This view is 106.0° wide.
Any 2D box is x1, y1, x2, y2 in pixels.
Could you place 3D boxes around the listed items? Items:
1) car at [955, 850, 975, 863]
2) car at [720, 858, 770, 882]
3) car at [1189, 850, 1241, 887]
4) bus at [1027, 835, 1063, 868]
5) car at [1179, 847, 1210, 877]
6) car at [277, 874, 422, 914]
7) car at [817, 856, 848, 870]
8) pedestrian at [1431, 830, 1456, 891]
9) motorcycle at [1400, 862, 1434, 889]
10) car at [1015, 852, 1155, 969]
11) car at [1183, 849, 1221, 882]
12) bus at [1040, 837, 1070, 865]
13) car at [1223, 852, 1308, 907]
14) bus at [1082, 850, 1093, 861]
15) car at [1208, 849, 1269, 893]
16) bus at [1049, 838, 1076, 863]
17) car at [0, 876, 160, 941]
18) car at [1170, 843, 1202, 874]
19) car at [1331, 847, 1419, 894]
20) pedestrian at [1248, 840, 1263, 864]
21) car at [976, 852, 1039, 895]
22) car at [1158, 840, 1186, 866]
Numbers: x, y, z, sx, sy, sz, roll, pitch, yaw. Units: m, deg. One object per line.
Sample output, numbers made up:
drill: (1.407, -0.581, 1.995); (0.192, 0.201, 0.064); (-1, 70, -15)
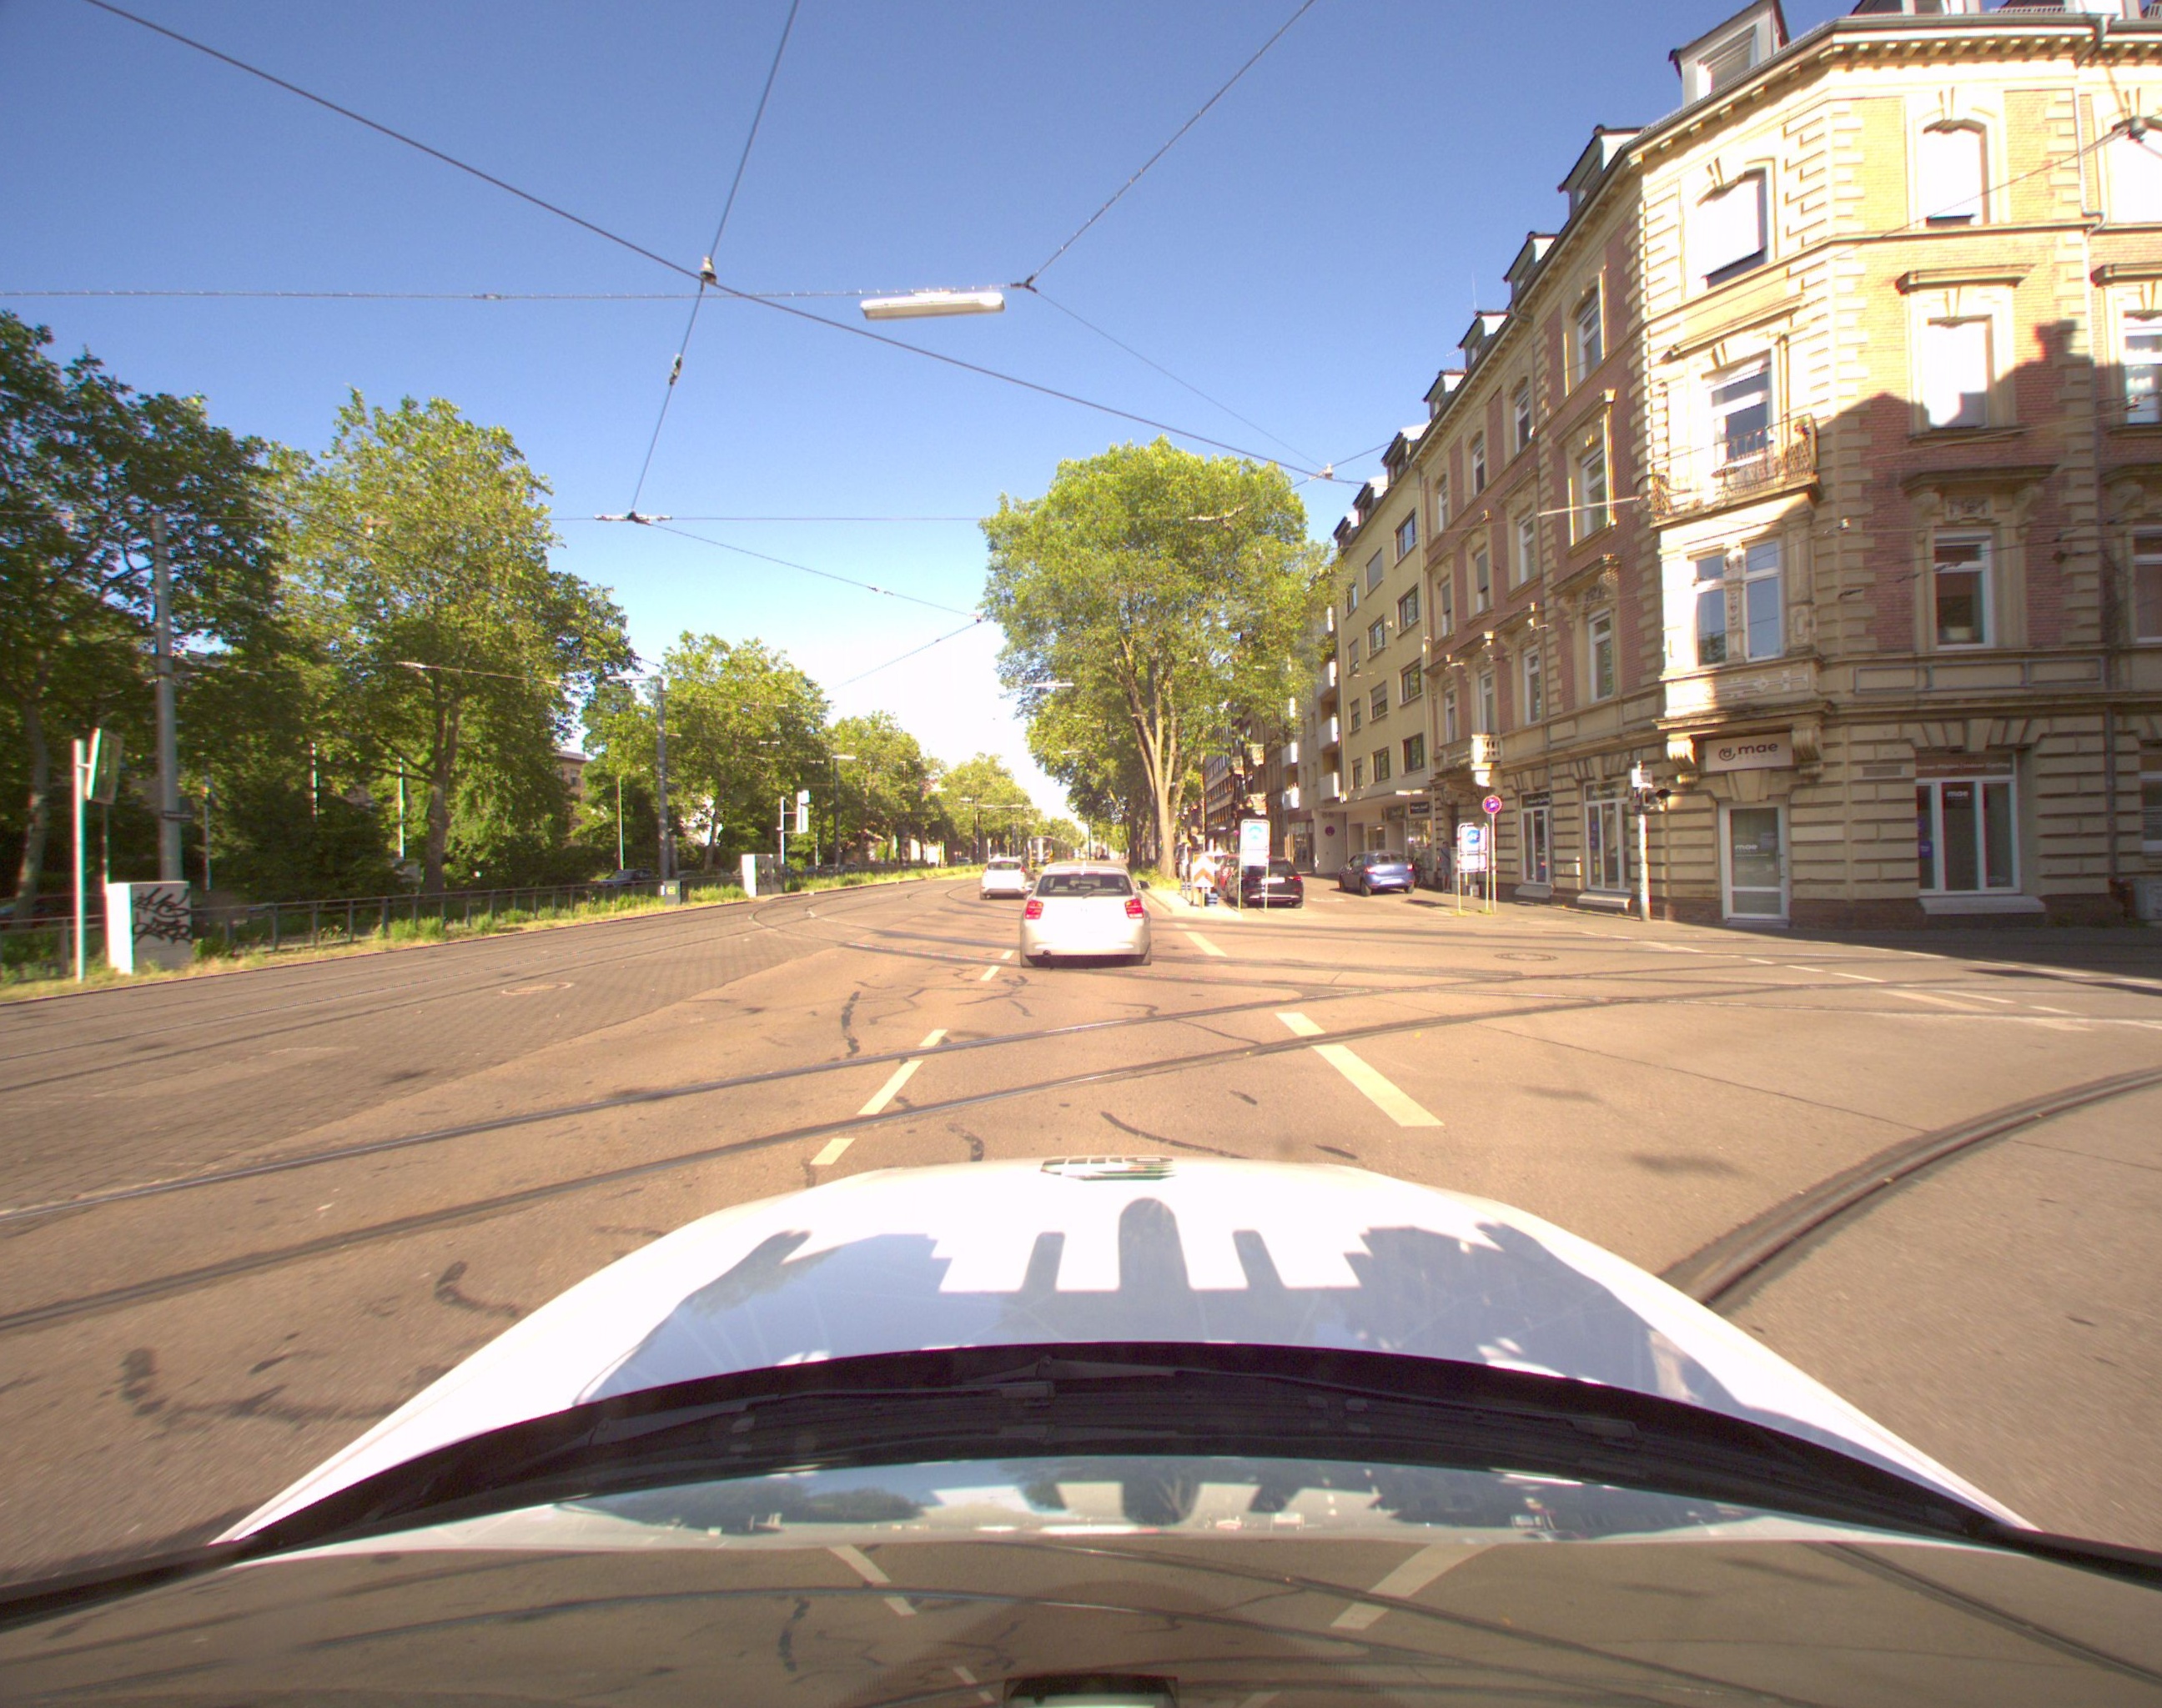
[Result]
car: (-15.779, 0.333, 110.618); (1.878, 1.619, 4.600); (1, 1, 2)
car: (-26.018, 1.183, 63.268); (1.987, 1.683, 4.514); (1, 1, 0)
car: (5.658, 0.583, 34.803); (1.620, 1.477, 3.698); (1, 1, 1)
bus: (-3.996, -0.304, 94.076); (2.857, 3.444, 13.228); (-1, 0, 3)
car: (6.023, 0.389, 43.428); (1.504, 1.480, 3.497); (1, 1, 6)
car: (-25.862, 1.387, 28.985); (1.614, 1.221, 3.766); (-1, 0, 3)
car: (-24.585, 0.884, 80.616); (1.761, 1.312, 3.783); (1, 1, 3)
pedestrian: (12.253, 0.216, 27.511); (0.509, 2.013, 0.854); (1, 0, 6)
motorcycle: (12.141, 0.774, 29.507); (0.484, 0.895, 1.874); (-4, 0, 2)
car: (0.123, 0.704, 12.223); (1.755, 1.432, 4.002); (0, 1, 2)
car: (5.752, 0.511, 39.116); (1.554, 1.485, 3.792); (1, 1, 4)
bus: (-3.303, -0.424, 106.818); (2.857, 3.444, 12.225); (-1, 0, 3)
car: (5.296, 0.671, 23.868); (1.690, 1.421, 4.172); (1, 1, 2)
bus: (2.154, 0.413, 267.837); (2.738, 3.625, 18.863); (-1, 0, 3)
car: (5.533, 0.552, 29.050); (1.582, 1.434, 3.908); (1, 1, 3)
bus: (-2.603, -0.532, 118.746); (2.857, 3.444, 11.621); (-1, 0, 3)
car: (-27.340, 1.389, 21.454); (1.583, 1.471, 3.828); (1, 1, 6)
car: (6.063, 0.235, 47.344); (1.618, 1.668, 4.147); (1, 1, 5)
car: (10.475, 0.536, 29.323); (1.687, 1.480, 4.000); (-3, 1, 0)
pedestrian: (13.407, -0.156, 62.691); (0.995, 1.840, 0.716); (-1, 0, 4)
car: (-2.516, 0.650, 28.667); (1.640, 1.362, 3.763); (1, 1, 3)
car: (6.664, -0.064, 60.086); (1.857, 1.815, 4.805); (1, 1, 4)
